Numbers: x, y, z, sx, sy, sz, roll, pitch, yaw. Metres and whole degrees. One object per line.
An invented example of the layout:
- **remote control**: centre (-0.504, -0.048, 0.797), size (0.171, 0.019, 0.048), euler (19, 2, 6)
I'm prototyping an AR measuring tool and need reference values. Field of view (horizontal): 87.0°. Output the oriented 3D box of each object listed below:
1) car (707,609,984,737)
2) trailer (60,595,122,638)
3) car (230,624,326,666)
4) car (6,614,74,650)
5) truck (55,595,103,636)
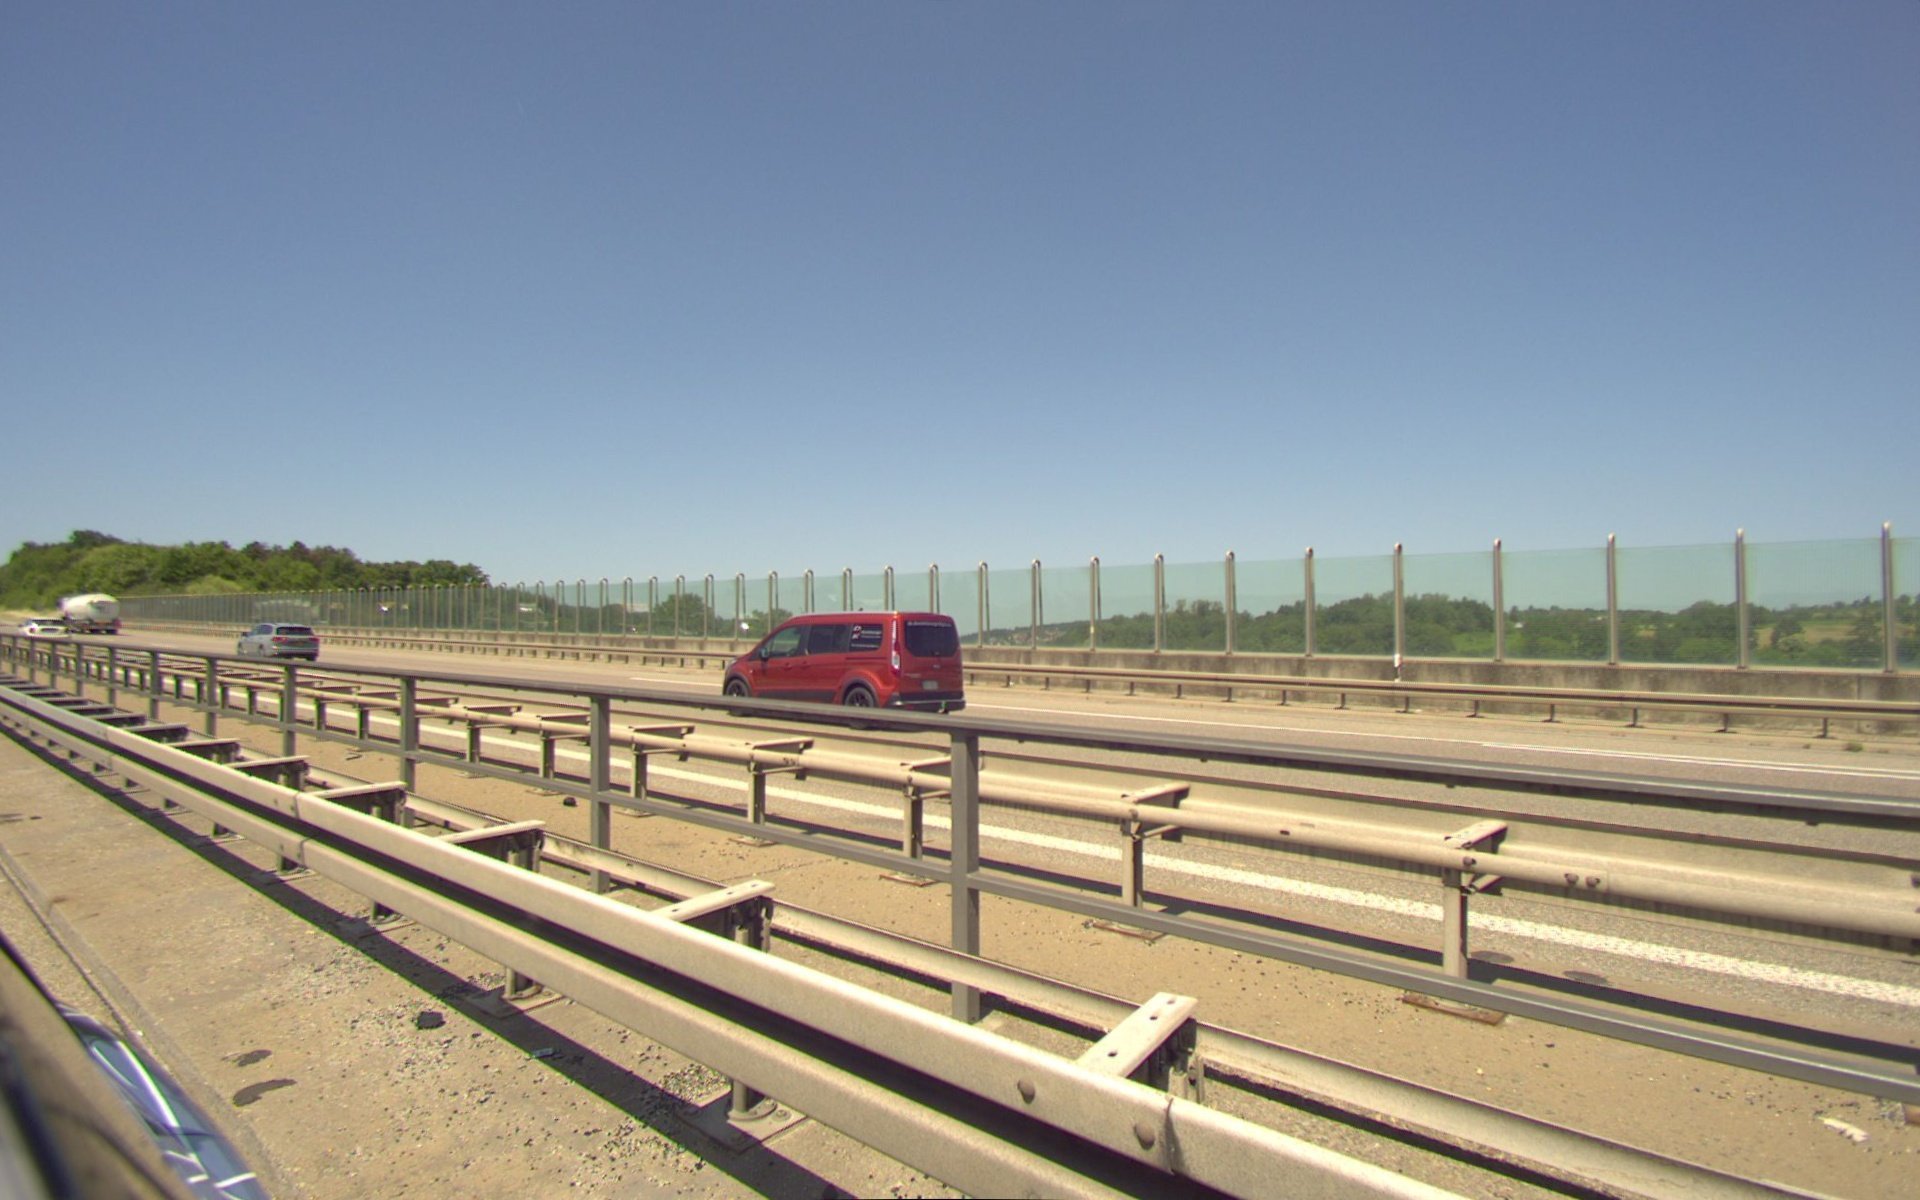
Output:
- **car**: centre (-2.023, 1.090, 16.883), size (4.744, 1.836, 1.820), euler (0, -2, 40)
- **trailer**: centre (-75.611, 1.398, 87.951), size (10.899, 3.567, 2.472), euler (0, -2, 42)
- **car**: centre (-25.598, 1.659, 37.924), size (4.382, 1.453, 1.852), euler (-1, -3, 41)
- **car**: centre (-44.261, 1.520, 48.689), size (3.606, 1.541, 1.852), euler (-1, -6, 41)
- **truck**: centre (-79.876, 1.419, 91.742), size (5.328, 3.562, 2.494), euler (0, -2, 42)
